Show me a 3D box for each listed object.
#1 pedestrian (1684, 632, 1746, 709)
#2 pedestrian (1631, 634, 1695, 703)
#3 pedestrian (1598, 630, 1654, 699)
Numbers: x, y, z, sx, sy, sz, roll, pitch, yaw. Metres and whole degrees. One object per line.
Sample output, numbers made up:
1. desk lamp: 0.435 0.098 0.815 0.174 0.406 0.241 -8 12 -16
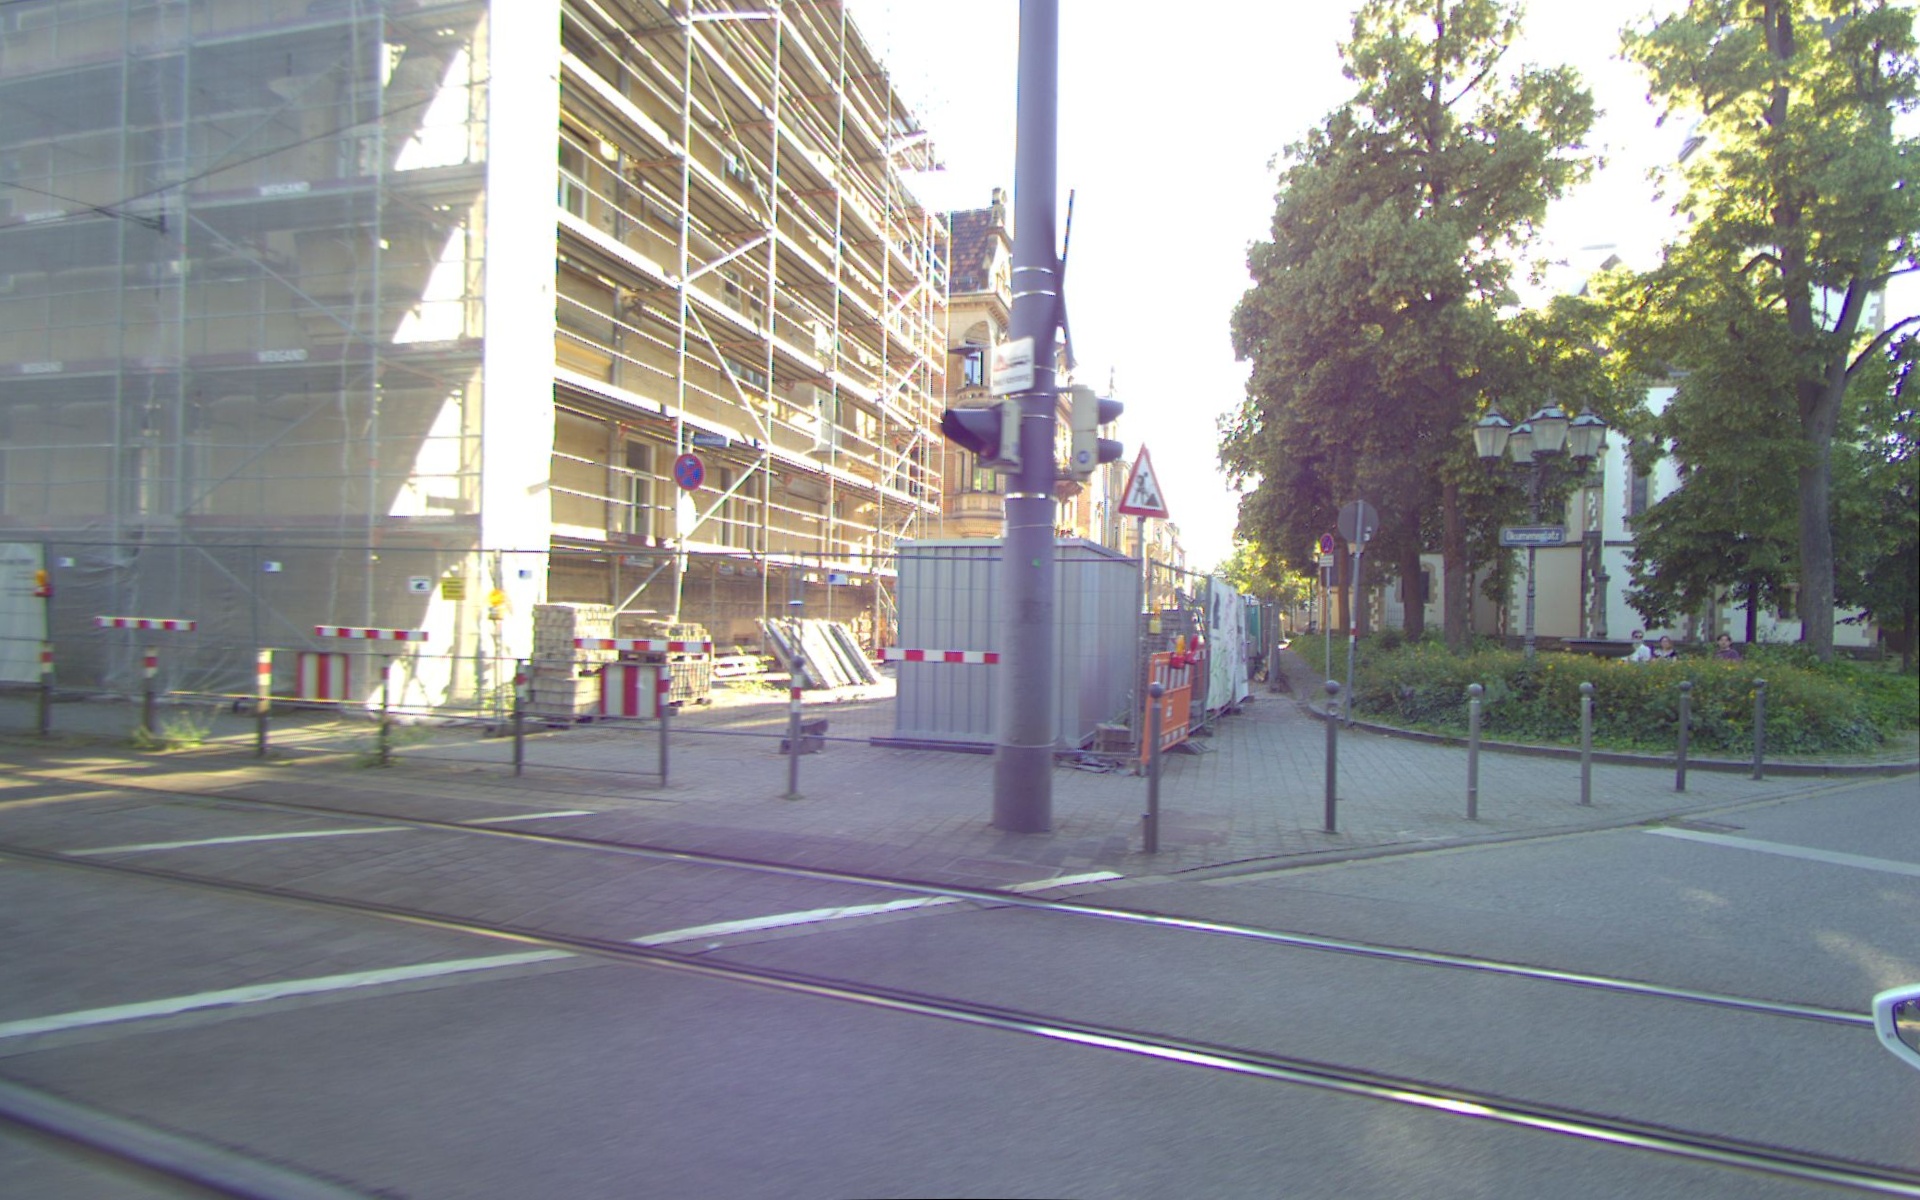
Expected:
1. pedestrian: 13.254 1.232 17.639 0.754 1.315 0.550 2 0 -22
2. pedestrian: 12.818 1.237 18.314 0.871 1.211 0.550 2 0 -22
3. pedestrian: 12.452 1.193 18.788 0.714 1.249 0.550 2 0 -22
